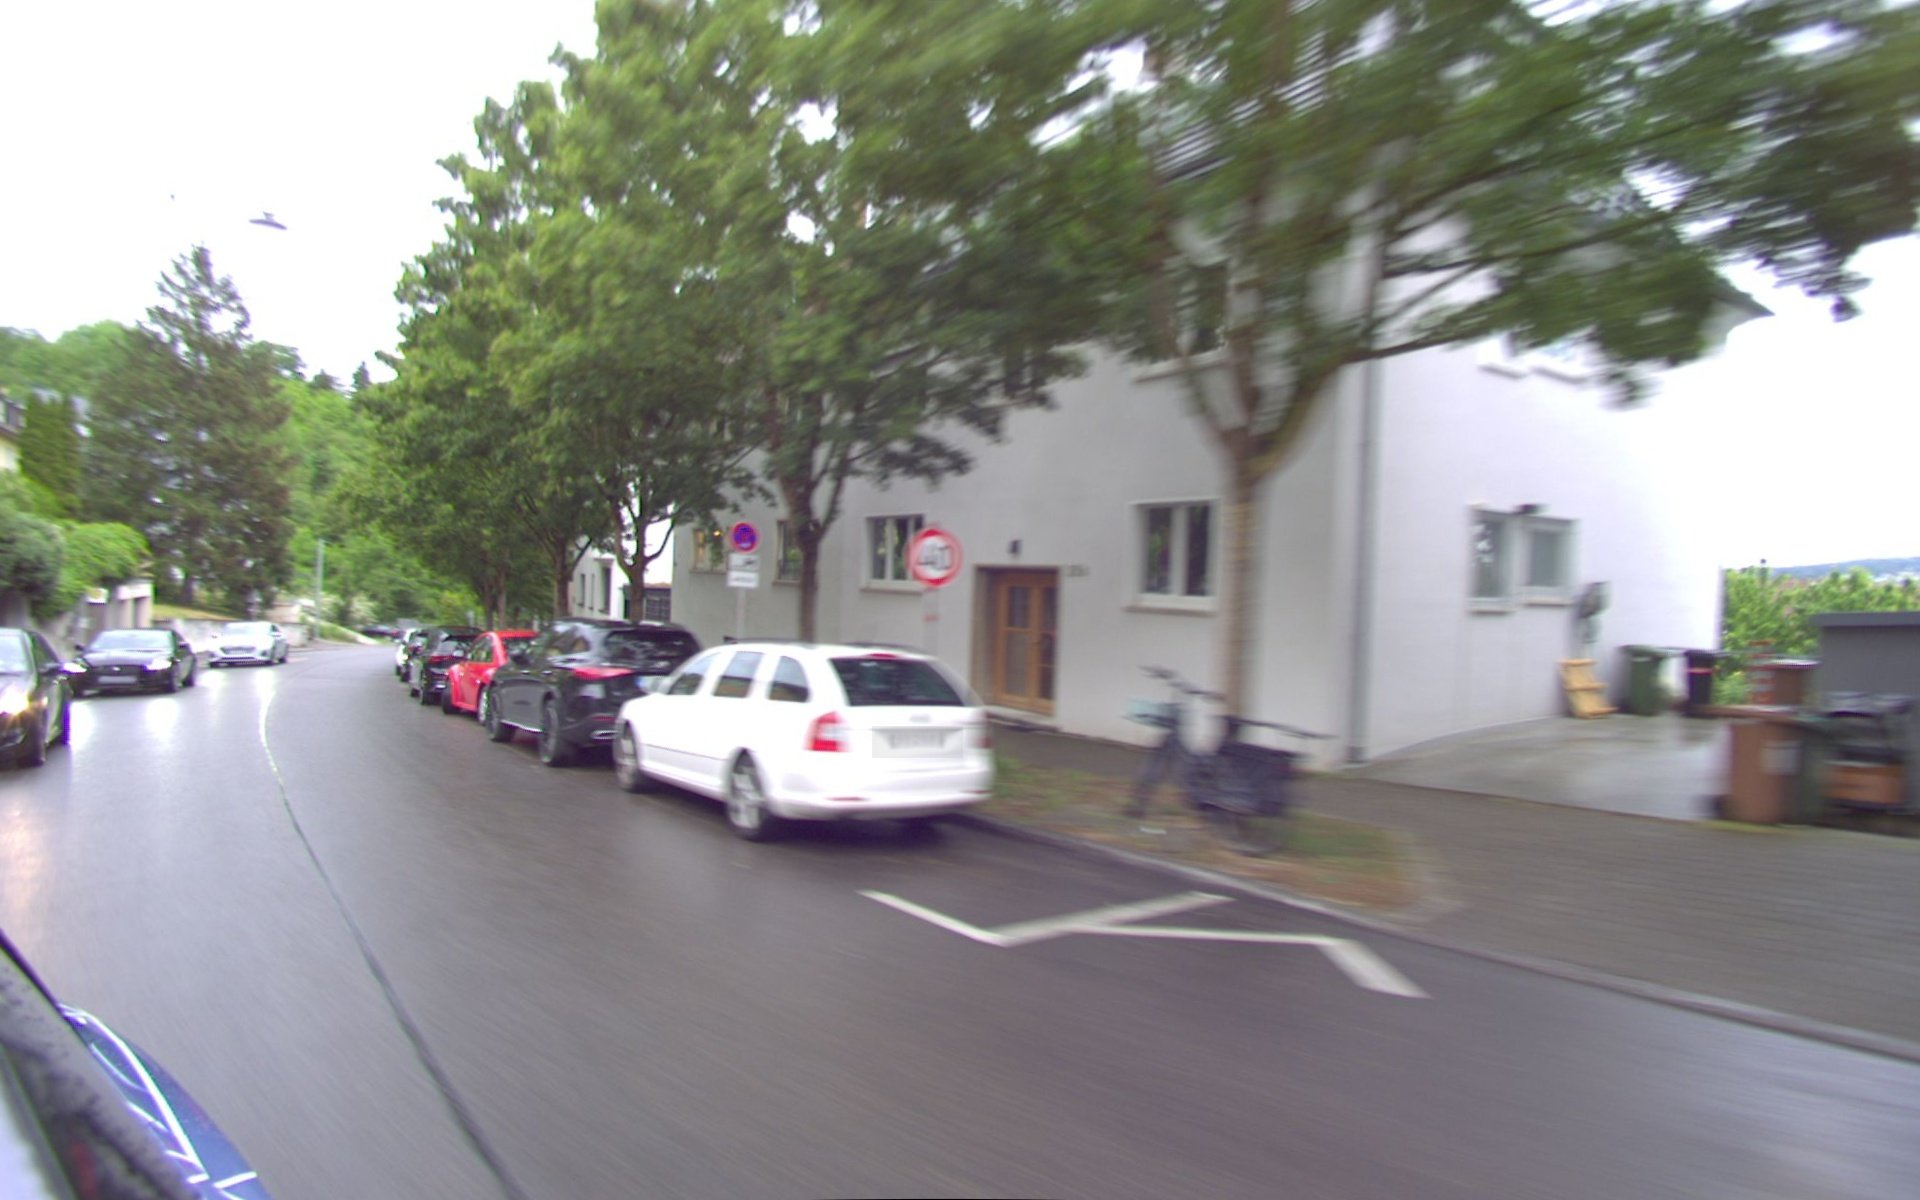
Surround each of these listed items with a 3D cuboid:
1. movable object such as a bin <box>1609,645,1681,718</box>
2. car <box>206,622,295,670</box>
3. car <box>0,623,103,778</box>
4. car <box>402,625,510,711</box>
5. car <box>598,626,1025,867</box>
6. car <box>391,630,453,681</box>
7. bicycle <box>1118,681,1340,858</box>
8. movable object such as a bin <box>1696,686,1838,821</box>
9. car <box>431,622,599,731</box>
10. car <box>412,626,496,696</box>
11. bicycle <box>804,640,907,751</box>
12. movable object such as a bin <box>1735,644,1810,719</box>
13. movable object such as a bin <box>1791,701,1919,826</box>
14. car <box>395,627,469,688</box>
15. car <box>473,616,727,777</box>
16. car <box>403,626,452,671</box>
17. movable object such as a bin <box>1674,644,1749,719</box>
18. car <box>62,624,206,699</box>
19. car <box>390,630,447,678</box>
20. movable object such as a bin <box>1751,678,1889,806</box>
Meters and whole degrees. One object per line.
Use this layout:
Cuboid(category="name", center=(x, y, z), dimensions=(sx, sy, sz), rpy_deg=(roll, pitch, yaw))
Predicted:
Cuboid(category="movable object such as a bin", center=(9.354, 1.093, 13.828), dimensions=(0.634, 0.958, 0.658), rpy_deg=(2, -3, -41))
Cuboid(category="car", center=(-26.771, 1.726, 38.339), dimensions=(1.979, 1.674, 4.460), rpy_deg=(3, -3, -25))
Cuboid(category="car", center=(-10.642, 0.986, 10.818), dimensions=(1.552, 1.463, 3.598), rpy_deg=(1, -2, -29))
Cuboid(category="car", center=(-10.477, 1.350, 20.890), dimensions=(1.534, 1.500, 4.110), rpy_deg=(6, -4, -31))
Cuboid(category="car", center=(-1.510, 1.029, 8.641), dimensions=(1.660, 1.520, 4.324), rpy_deg=(4, -4, -38))
Cuboid(category="car", center=(-17.374, 1.784, 32.726), dimensions=(1.552, 1.500, 3.480), rpy_deg=(5, -5, -28))
Cuboid(category="bicycle", center=(1.883, 1.154, 7.398), dimensions=(0.429, 1.037, 1.911), rpy_deg=(1, -2, -25))
Cuboid(category="movable object such as a bin", center=(6.365, 1.181, 7.999), dimensions=(0.646, 0.958, 0.646), rpy_deg=(1, -2, -27))
Cuboid(category="car", center=(-7.664, 1.250, 17.236), dimensions=(1.612, 1.576, 3.856), rpy_deg=(6, -4, -38))
Cuboid(category="car", center=(-12.526, 1.469, 24.983), dimensions=(1.534, 1.522, 3.394), rpy_deg=(6, -4, -30))
Cuboid(category="bicycle", center=(-1.341, 1.141, 12.639), dimensions=(0.609, 1.261, 1.911), rpy_deg=(1, -2, -27))
Cuboid(category="movable object such as a bin", center=(10.932, 1.075, 13.619), dimensions=(0.704, 0.958, 0.658), rpy_deg=(2, -3, -41))
Cuboid(category="movable object such as a bin", center=(7.705, 1.380, 8.692), dimensions=(0.646, 0.958, 0.646), rpy_deg=(1, -2, -27))
Cuboid(category="car", center=(-15.149, 1.586, 28.980), dimensions=(1.641, 1.500, 4.489), rpy_deg=(5, -4, -28))
Cuboid(category="car", center=(-4.629, 1.077, 12.560), dimensions=(1.659, 1.621, 4.587), rpy_deg=(3, -4, -36))
Cuboid(category="car", center=(-22.509, 2.030, 42.852), dimensions=(1.595, 1.671, 3.936), rpy_deg=(6, -4, -27))
Cuboid(category="movable object such as a bin", center=(10.077, 1.078, 13.573), dimensions=(0.672, 0.958, 0.658), rpy_deg=(2, -3, -41))
Cuboid(category="car", center=(-18.358, 1.308, 22.679), dimensions=(1.777, 1.500, 4.029), rpy_deg=(0, -2, -29))
Cuboid(category="car", center=(-19.474, 1.909, 36.388), dimensions=(1.595, 1.481, 3.985), rpy_deg=(5, -3, -28))
Cuboid(category="movable object such as a bin", center=(7.094, 1.146, 8.358), dimensions=(0.646, 0.958, 0.646), rpy_deg=(1, -2, -27))
